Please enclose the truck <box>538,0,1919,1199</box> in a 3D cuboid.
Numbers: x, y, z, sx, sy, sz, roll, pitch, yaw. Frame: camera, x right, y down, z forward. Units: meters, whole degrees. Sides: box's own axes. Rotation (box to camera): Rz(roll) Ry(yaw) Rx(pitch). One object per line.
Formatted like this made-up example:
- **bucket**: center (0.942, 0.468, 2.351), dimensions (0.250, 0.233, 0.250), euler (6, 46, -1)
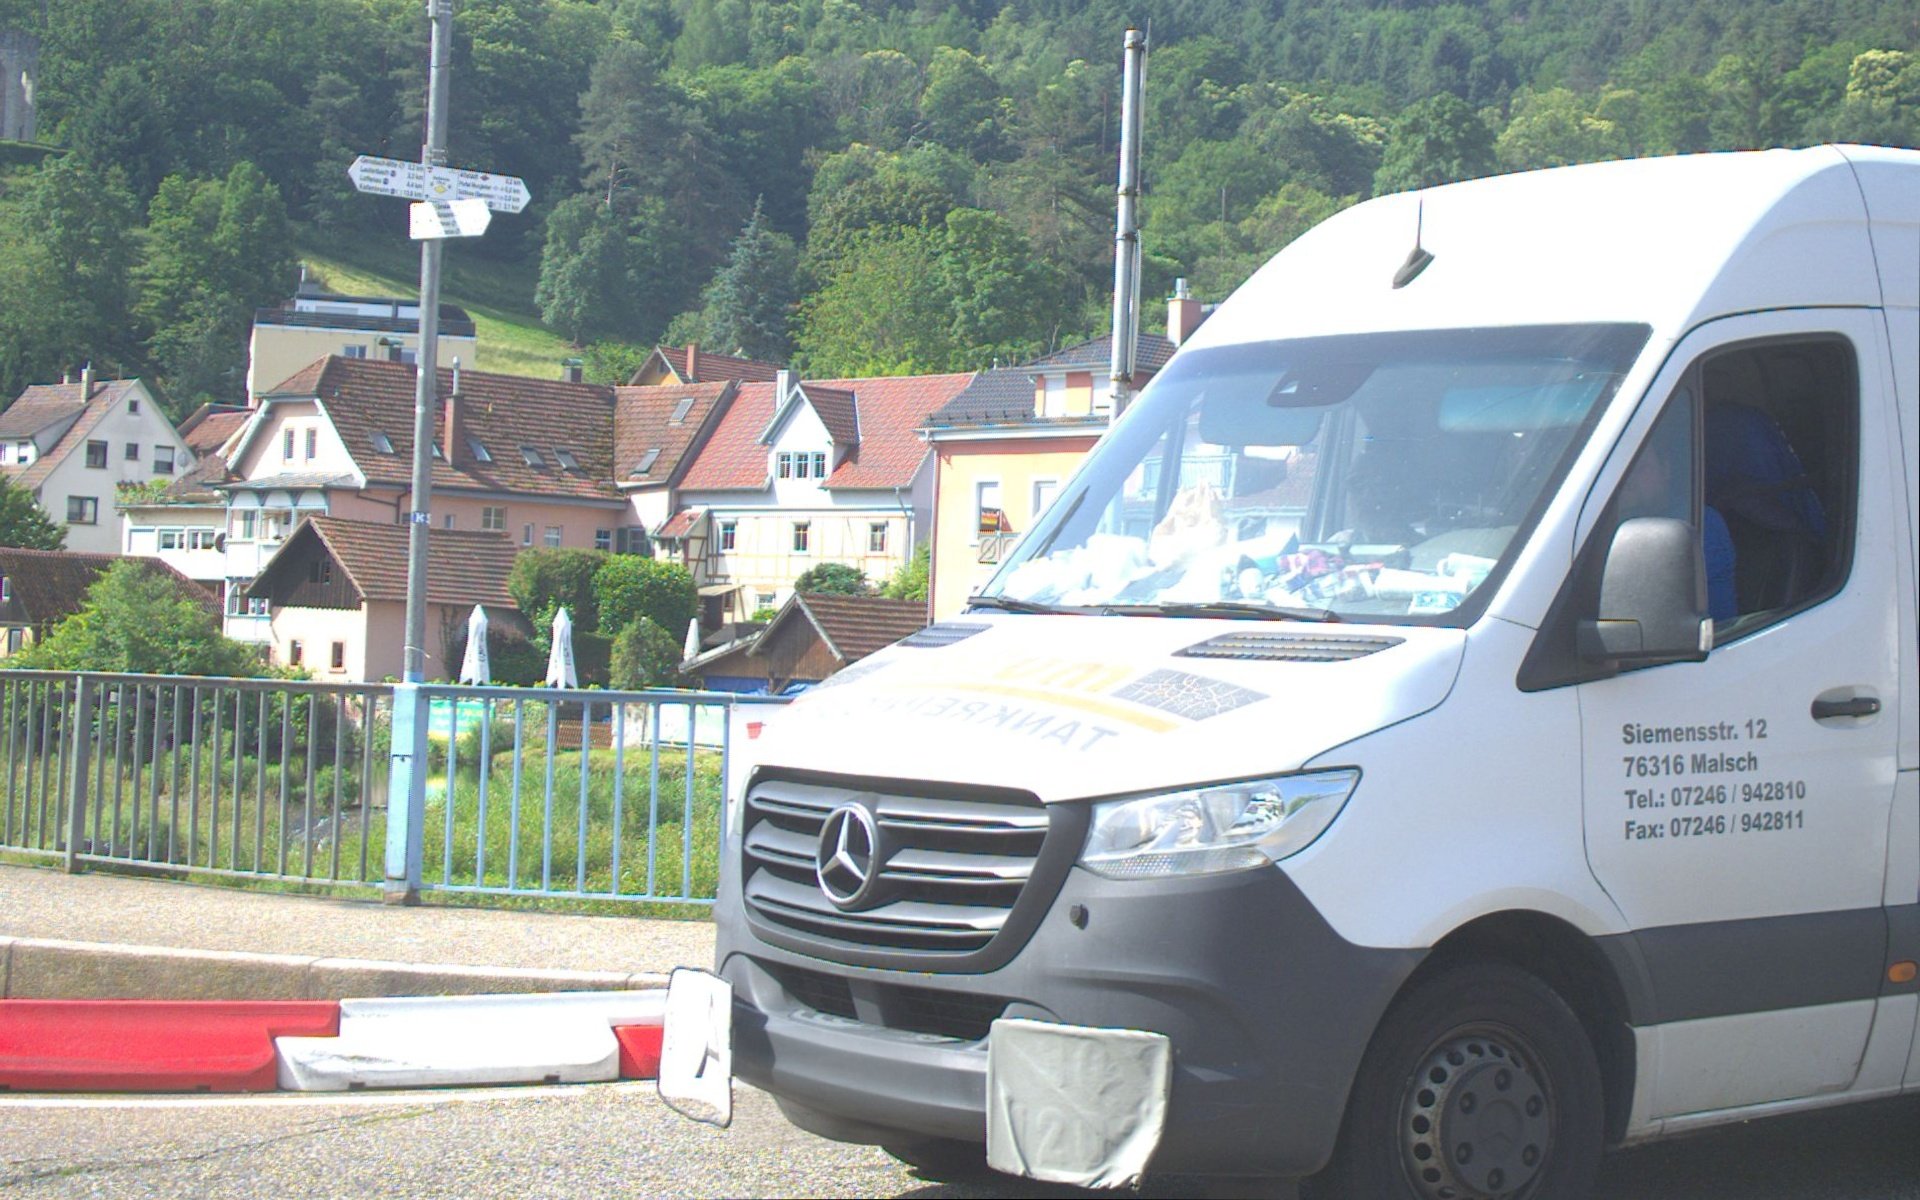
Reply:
- **truck**: center (2.488, 0.126, 9.384), dimensions (7.111, 2.690, 2.111), euler (1, 0, -38)
